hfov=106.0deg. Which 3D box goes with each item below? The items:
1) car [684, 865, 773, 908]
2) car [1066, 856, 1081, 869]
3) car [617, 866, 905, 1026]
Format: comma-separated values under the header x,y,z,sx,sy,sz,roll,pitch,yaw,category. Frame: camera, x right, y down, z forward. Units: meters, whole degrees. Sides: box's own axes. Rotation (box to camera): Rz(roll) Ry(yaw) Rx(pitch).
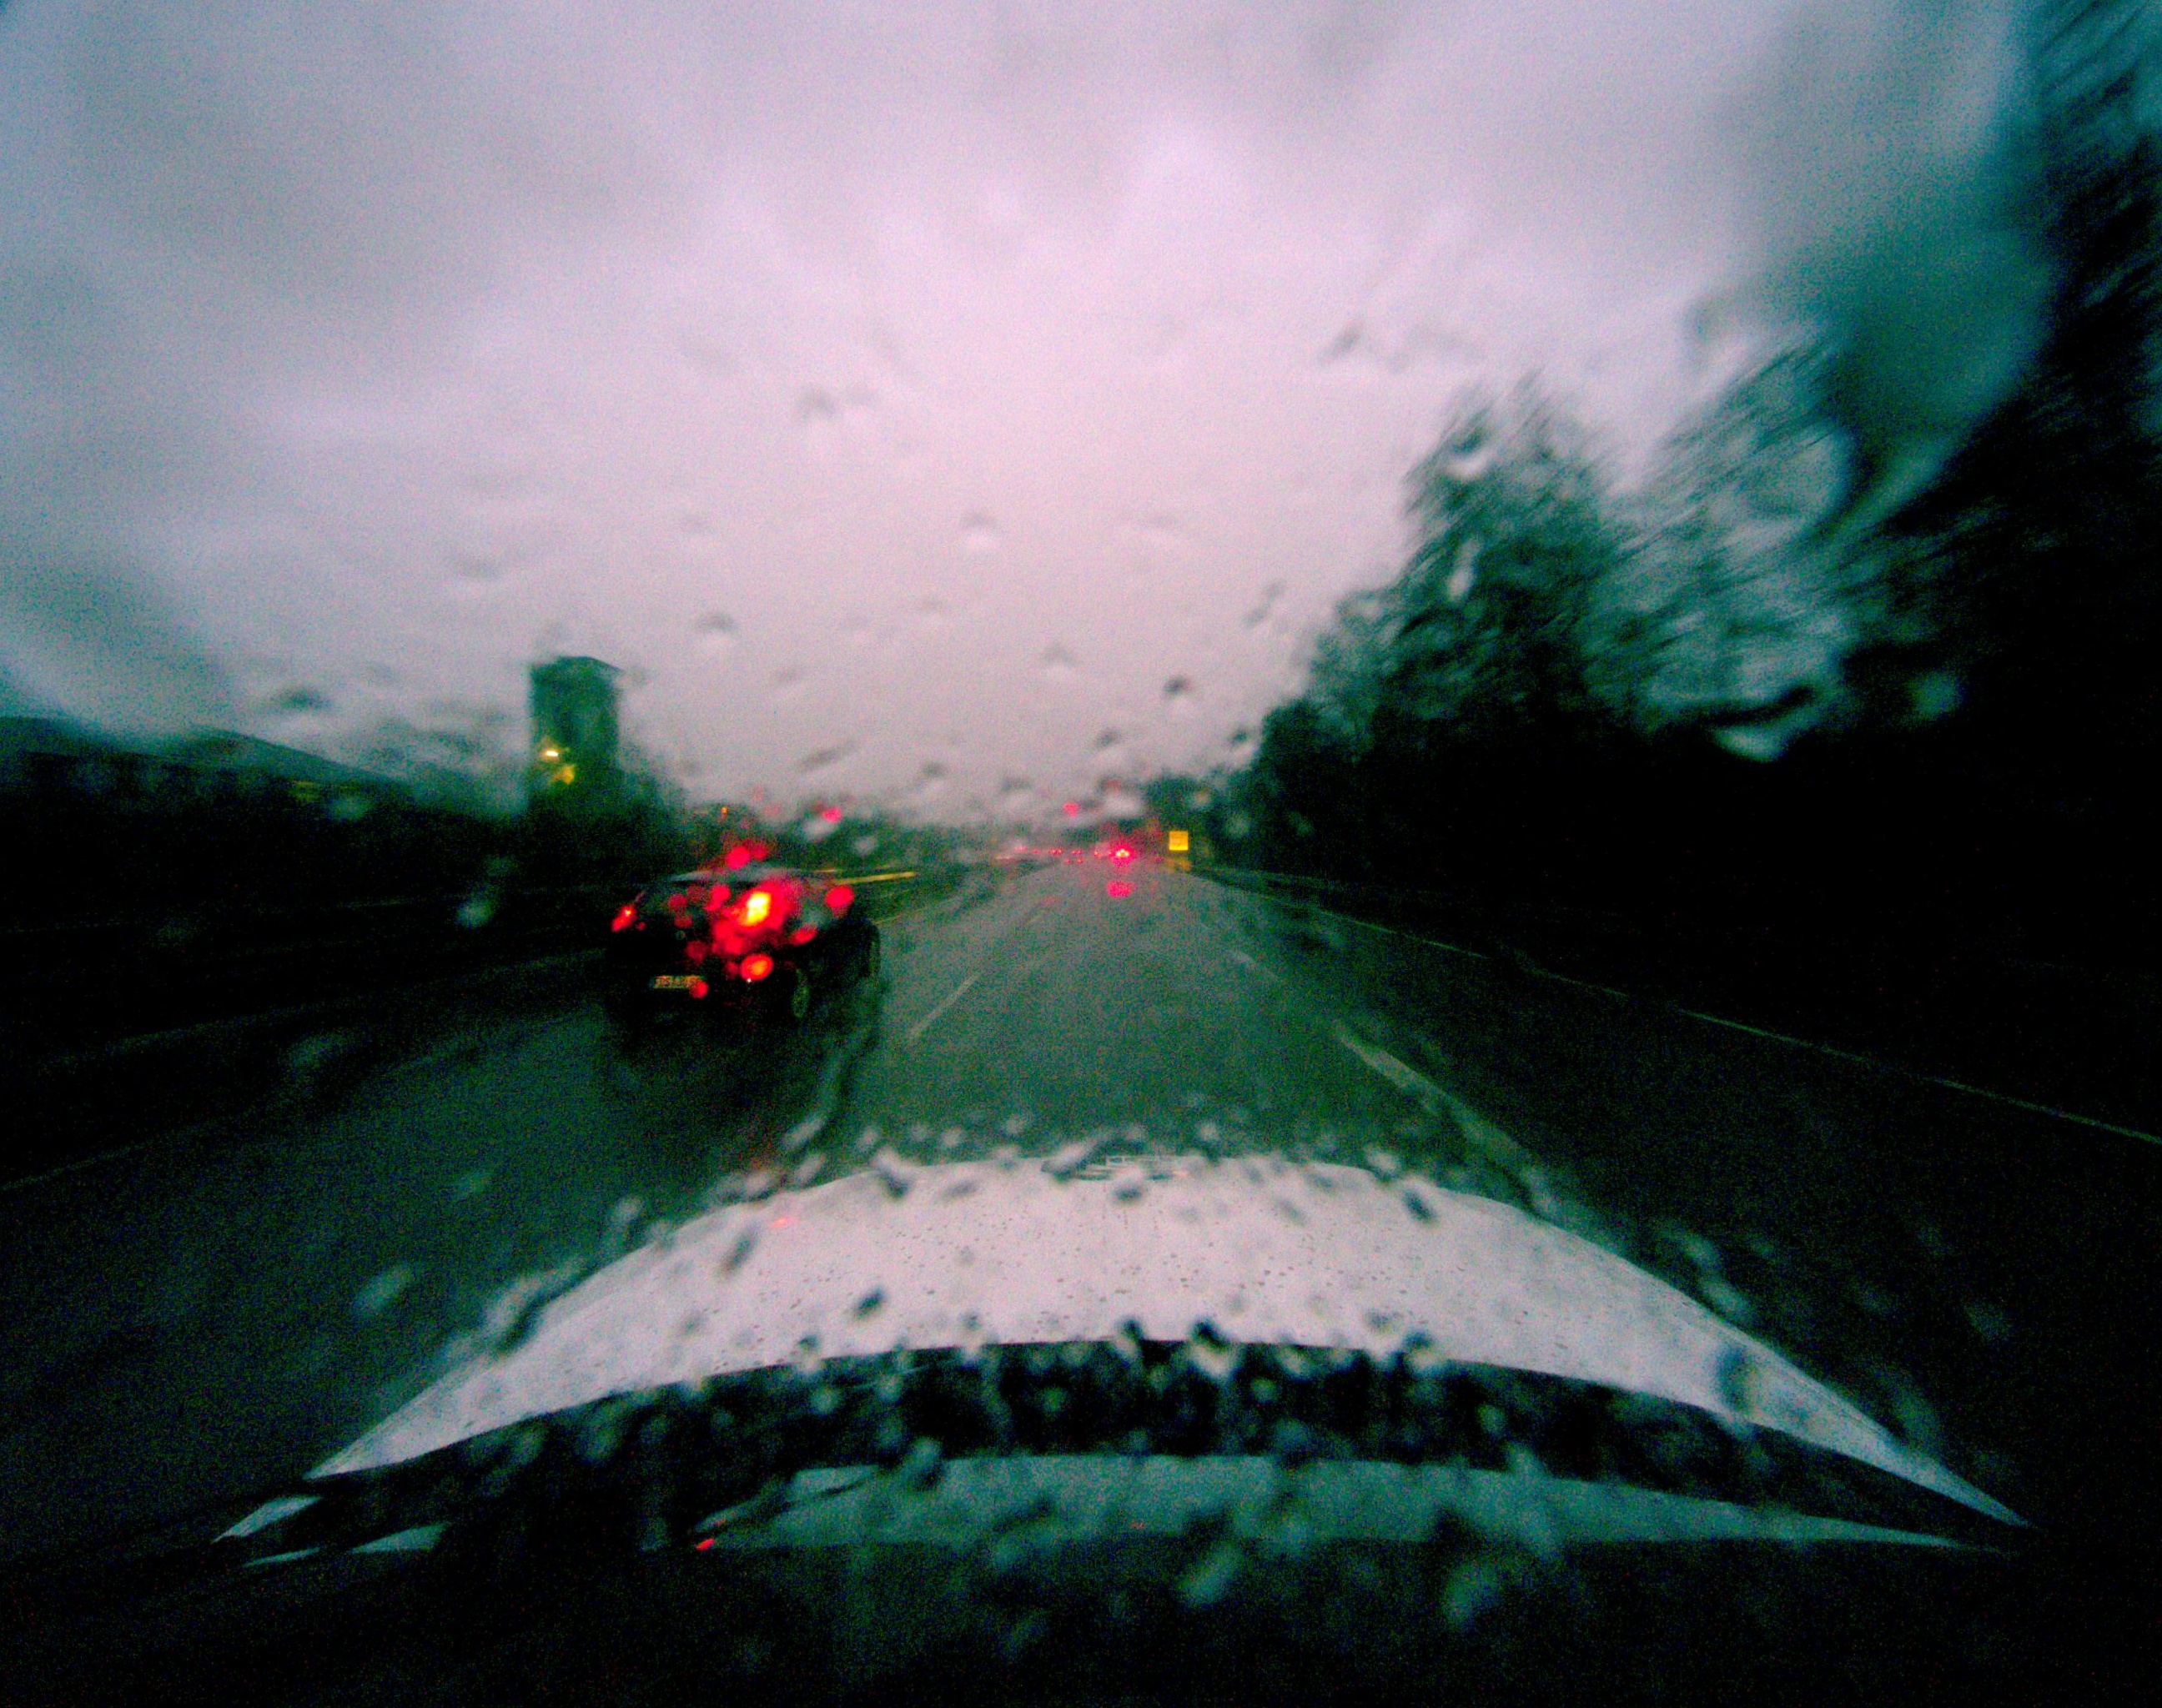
x,y,z,sx,sy,sz,roll,pitch,yaw,category
-12.952,1.168,30.178,1.609,1.464,3.646,0,-1,2,car
-0.824,0.928,88.486,1.410,1.317,3.084,1,0,2,car
-3.301,0.852,9.310,1.620,1.392,4.000,1,-1,1,car
